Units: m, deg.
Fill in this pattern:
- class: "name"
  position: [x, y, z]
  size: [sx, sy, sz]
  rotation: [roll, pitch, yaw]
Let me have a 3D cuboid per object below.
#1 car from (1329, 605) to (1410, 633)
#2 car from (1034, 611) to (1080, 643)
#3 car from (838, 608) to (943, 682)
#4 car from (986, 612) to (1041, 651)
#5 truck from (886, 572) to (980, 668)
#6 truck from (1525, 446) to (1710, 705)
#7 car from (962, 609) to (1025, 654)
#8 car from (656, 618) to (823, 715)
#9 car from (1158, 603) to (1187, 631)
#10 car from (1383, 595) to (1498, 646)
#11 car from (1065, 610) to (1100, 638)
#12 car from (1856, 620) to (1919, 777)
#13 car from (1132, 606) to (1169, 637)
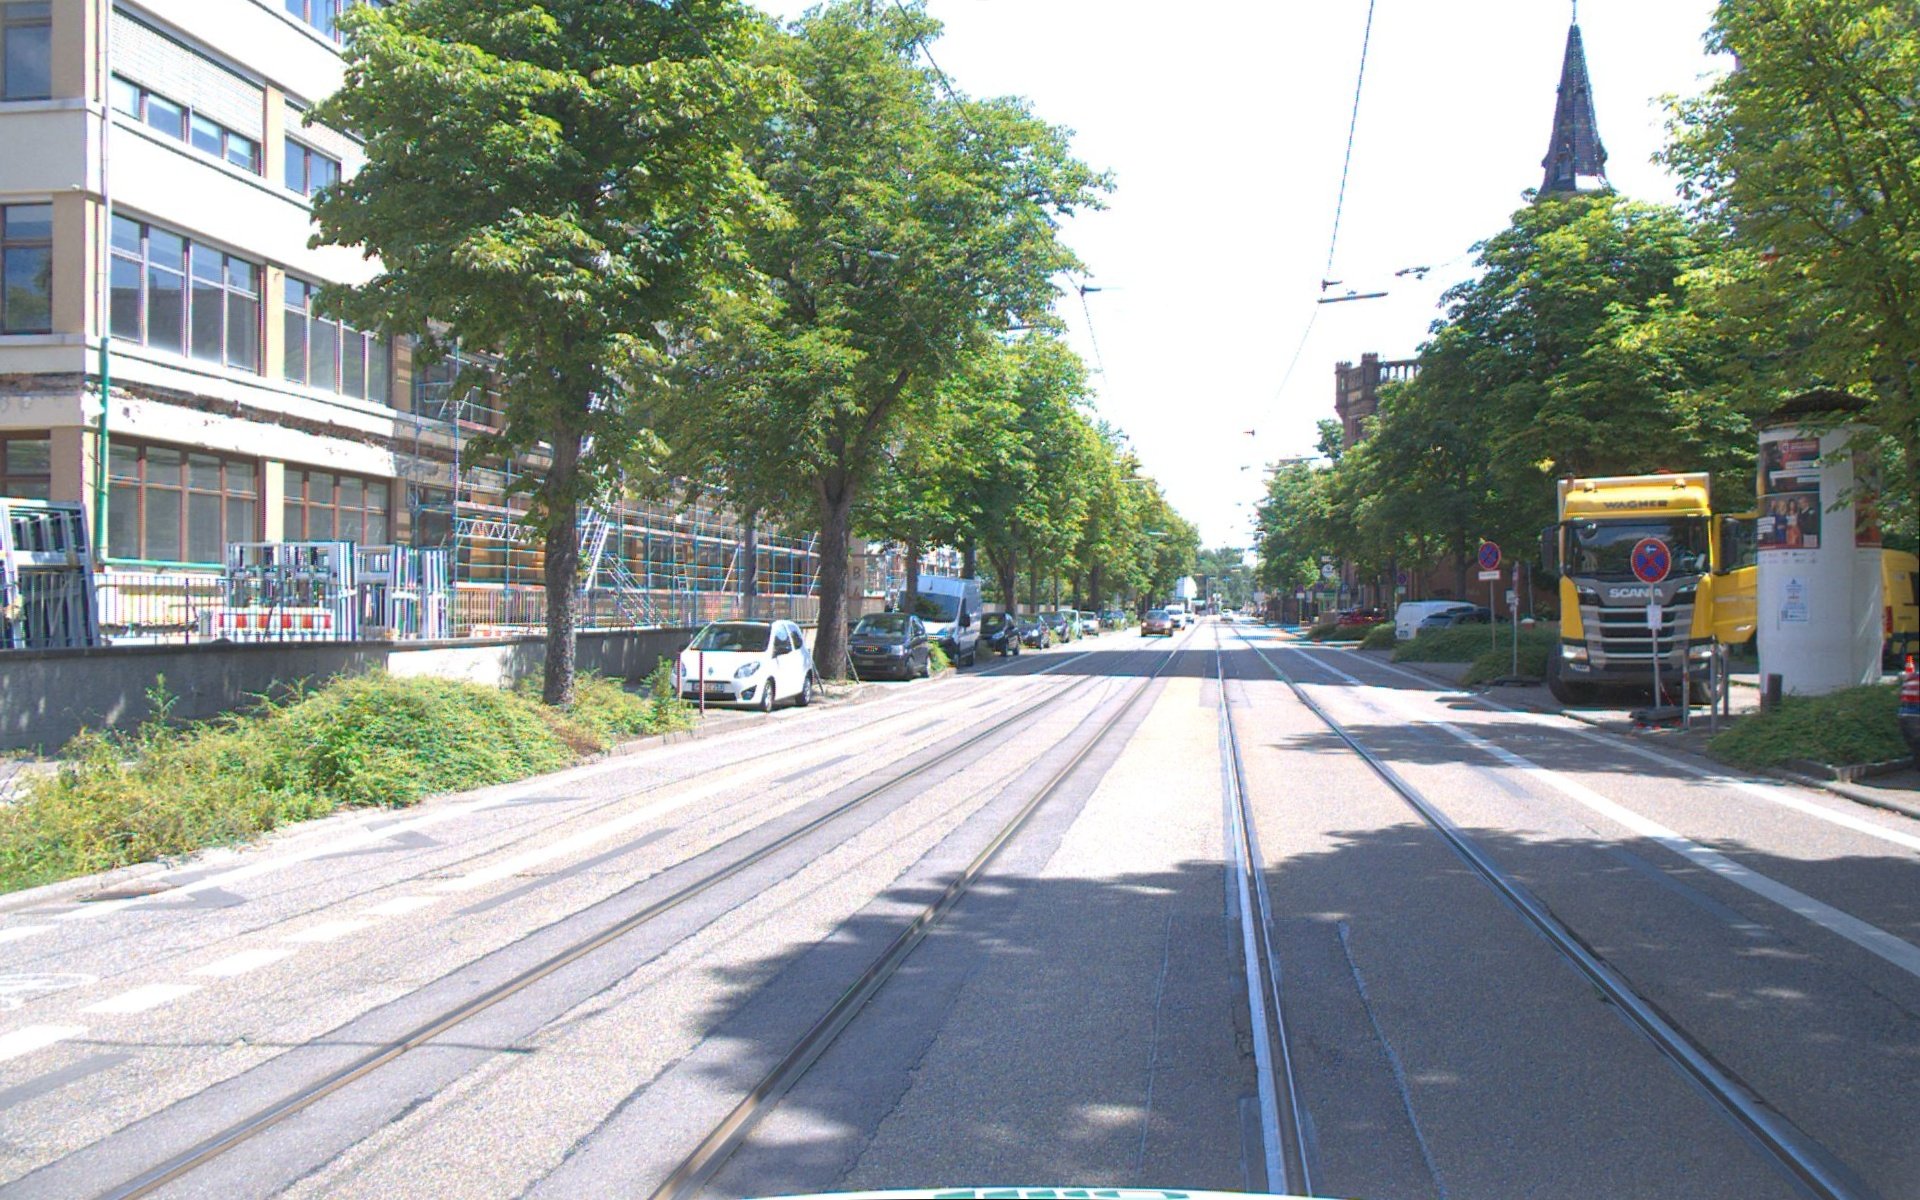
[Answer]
- class: "car"
  position: [22.946, 1.041, 92.727]
  size: [3.918, 1.512, 1.993]
  rotation: [0, 0, -13]
- class: "car"
  position: [4.893, 1.337, 82.921]
  size: [1.951, 1.512, 4.341]
  rotation: [0, 0, 9]
- class: "car"
  position: [-1.602, 1.031, 39.409]
  size: [1.951, 1.635, 4.002]
  rotation: [1, 0, 5]
- class: "car"
  position: [2.182, 1.259, 66.834]
  size: [1.951, 1.512, 4.002]
  rotation: [0, 0, 5]
- class: "truck"
  position: [-0.675, 0.548, 46.831]
  size: [1.977, 2.529, 5.876]
  rotation: [0, 0, 6]
- class: "truck"
  position: [12.545, -0.344, 31.032]
  size: [2.687, 4.076, 9.738]
  rotation: [-1, -1, 25]
- class: "car"
  position: [1.173, 1.054, 56.612]
  size: [1.952, 1.481, 4.002]
  rotation: [0, 0, 4]
- class: "car"
  position: [-3.569, 1.048, 27.349]
  size: [1.583, 1.465, 3.586]
  rotation: [0, 0, 12]
- class: "car"
  position: [15.838, 1.278, 123.230]
  size: [1.951, 2.049, 4.003]
  rotation: [0, 0, 9]
- class: "car"
  position: [17.637, 0.756, 60.683]
  size: [3.943, 1.825, 1.817]
  rotation: [1, 0, -29]
- class: "car"
  position: [7.400, 1.406, 99.363]
  size: [1.783, 1.601, 4.003]
  rotation: [0, 0, 8]
- class: "car"
  position: [10.307, 0.901, 15.849]
  size: [3.982, 1.397, 1.608]
  rotation: [1, 0, -38]
- class: "car"
  position: [10.941, 1.240, 94.873]
  size: [1.951, 1.718, 4.003]
  rotation: [0, 0, 9]
